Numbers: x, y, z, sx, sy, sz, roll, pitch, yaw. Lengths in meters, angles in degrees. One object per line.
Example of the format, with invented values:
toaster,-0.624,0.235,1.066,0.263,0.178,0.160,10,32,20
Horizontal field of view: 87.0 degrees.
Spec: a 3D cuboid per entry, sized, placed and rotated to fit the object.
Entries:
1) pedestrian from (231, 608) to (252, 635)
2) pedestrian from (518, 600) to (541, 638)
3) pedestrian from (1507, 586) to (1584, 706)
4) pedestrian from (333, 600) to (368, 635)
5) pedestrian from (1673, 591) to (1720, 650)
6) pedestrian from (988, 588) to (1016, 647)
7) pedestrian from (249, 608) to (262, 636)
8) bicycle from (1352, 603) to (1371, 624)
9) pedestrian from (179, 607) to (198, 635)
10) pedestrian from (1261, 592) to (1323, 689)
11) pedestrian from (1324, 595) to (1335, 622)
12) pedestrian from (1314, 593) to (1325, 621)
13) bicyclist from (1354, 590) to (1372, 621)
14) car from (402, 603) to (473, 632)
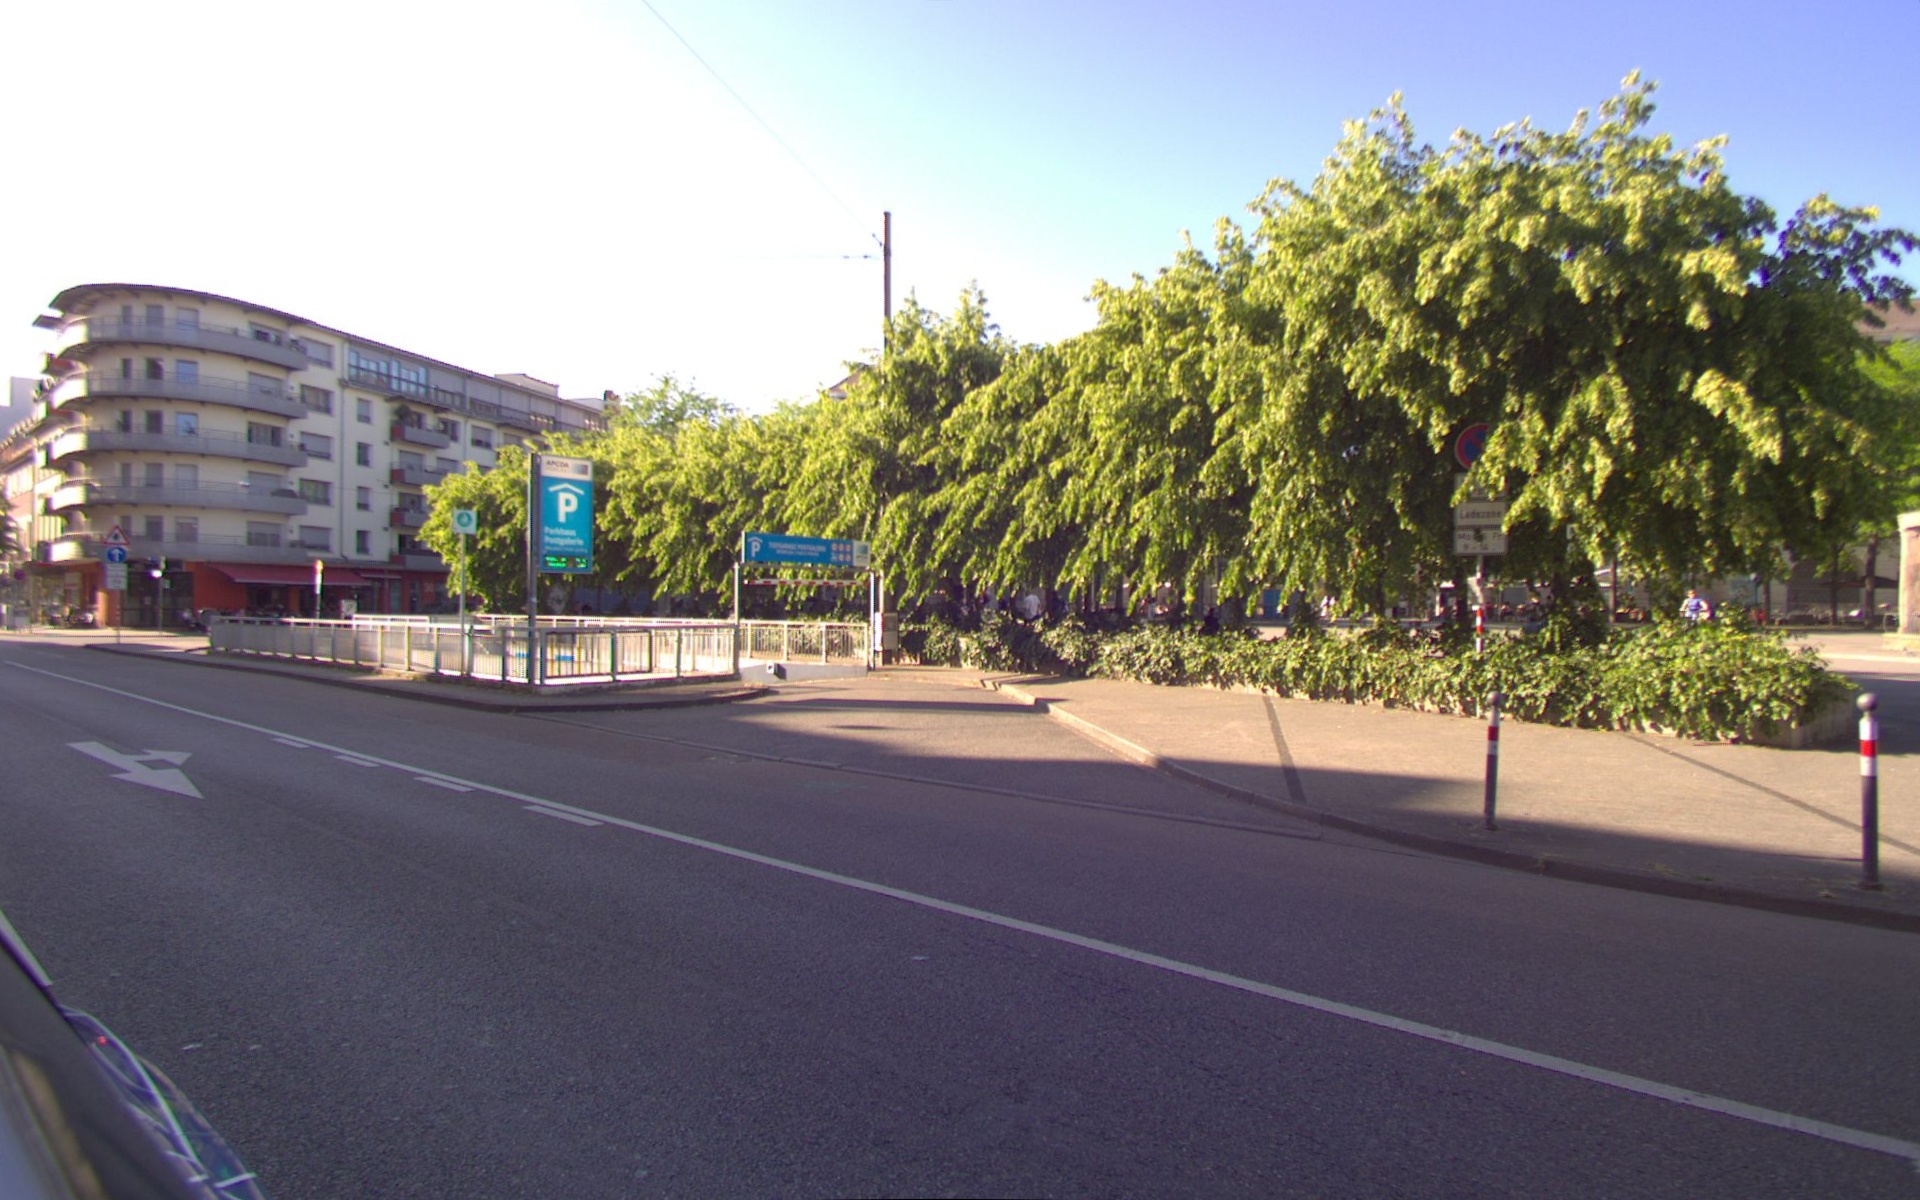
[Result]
pedestrian,-40.327,1.210,56.790,0.782,1.473,0.582,0,0,3
pedestrian,-20.951,0.925,49.241,0.753,1.819,0.748,-1,0,25
pedestrian,8.946,0.676,15.474,0.885,1.771,0.738,0,0,-39
pedestrian,-35.832,1.025,59.490,1.251,2.029,1.226,-1,0,19
pedestrian,22.092,0.610,30.365,0.889,1.771,0.735,0,0,10
pedestrian,1.211,0.498,29.105,0.672,1.683,0.843,-1,0,13
pedestrian,-38.882,1.221,55.882,0.573,1.501,0.794,0,0,-36
bicycle,18.636,0.614,46.946,0.587,0.961,1.888,0,0,29
pedestrian,-41.324,1.102,54.218,0.780,1.471,0.583,0,0,-40
pedestrian,6.256,0.738,19.082,0.885,1.771,0.738,0,0,-39
pedestrian,26.321,0.611,72.071,0.751,1.948,0.939,0,0,20
pedestrian,25.631,0.507,72.122,0.751,1.948,0.939,-1,0,20
bicyclist,18.708,0.267,46.953,0.670,1.439,0.691,-1,0,29
car,-34.138,1.121,66.238,1.983,1.763,3.978,0,0,17
